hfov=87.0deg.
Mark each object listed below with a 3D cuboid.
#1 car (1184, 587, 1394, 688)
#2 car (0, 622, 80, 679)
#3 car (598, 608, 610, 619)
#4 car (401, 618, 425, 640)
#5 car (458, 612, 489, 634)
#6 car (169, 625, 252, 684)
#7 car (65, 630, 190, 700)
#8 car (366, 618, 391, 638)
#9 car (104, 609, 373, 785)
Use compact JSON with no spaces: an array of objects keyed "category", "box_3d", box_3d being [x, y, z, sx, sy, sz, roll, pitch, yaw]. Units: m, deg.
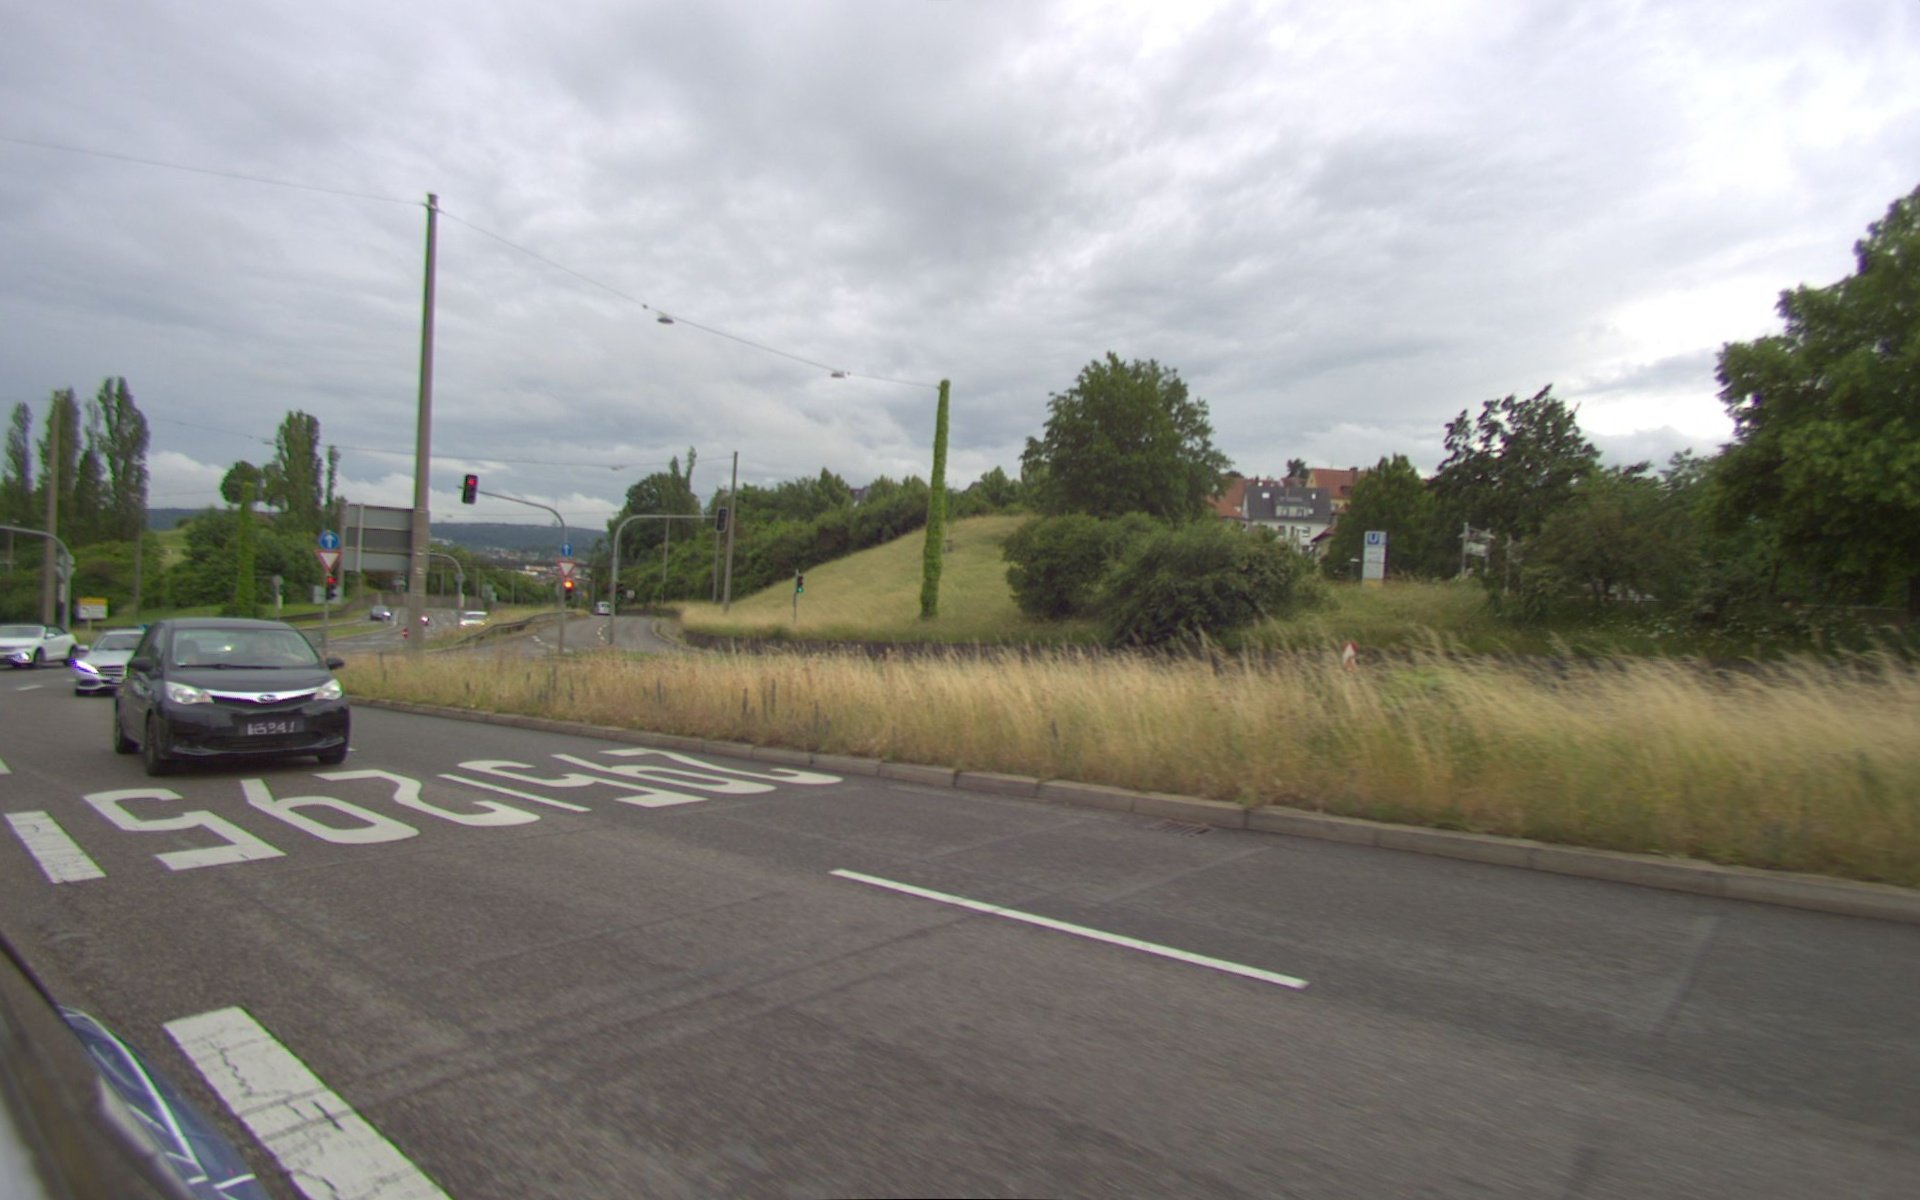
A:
[{"category":"car","box_3d":[7.221,0.807,22.318,3.994,2.029,1.975,0,-3,37]},{"category":"car","box_3d":[-32.082,1.686,34.498,1.812,1.551,3.831,0,4,-19]},{"category":"car","box_3d":[-49.050,1.796,139.416,1.535,1.443,3.240,-1,1,-18]},{"category":"car","box_3d":[-52.235,2.756,96.662,1.965,2.029,4.012,0,-2,-29]},{"category":"car","box_3d":[-39.321,1.875,81.727,1.966,1.705,4.302,0,-1,-29]},{"category":"car","box_3d":[-24.289,1.698,32.911,1.896,1.748,4.036,0,-1,-33]},{"category":"car","box_3d":[-18.856,1.410,23.111,1.967,1.419,4.534,1,-2,-37]},{"category":"car","box_3d":[-60.265,2.873,104.931,1.965,2.029,4.013,1,-2,-27]},{"category":"car","box_3d":[-8.095,0.976,11.205,1.775,1.577,4.046,4,-5,-44]}]
